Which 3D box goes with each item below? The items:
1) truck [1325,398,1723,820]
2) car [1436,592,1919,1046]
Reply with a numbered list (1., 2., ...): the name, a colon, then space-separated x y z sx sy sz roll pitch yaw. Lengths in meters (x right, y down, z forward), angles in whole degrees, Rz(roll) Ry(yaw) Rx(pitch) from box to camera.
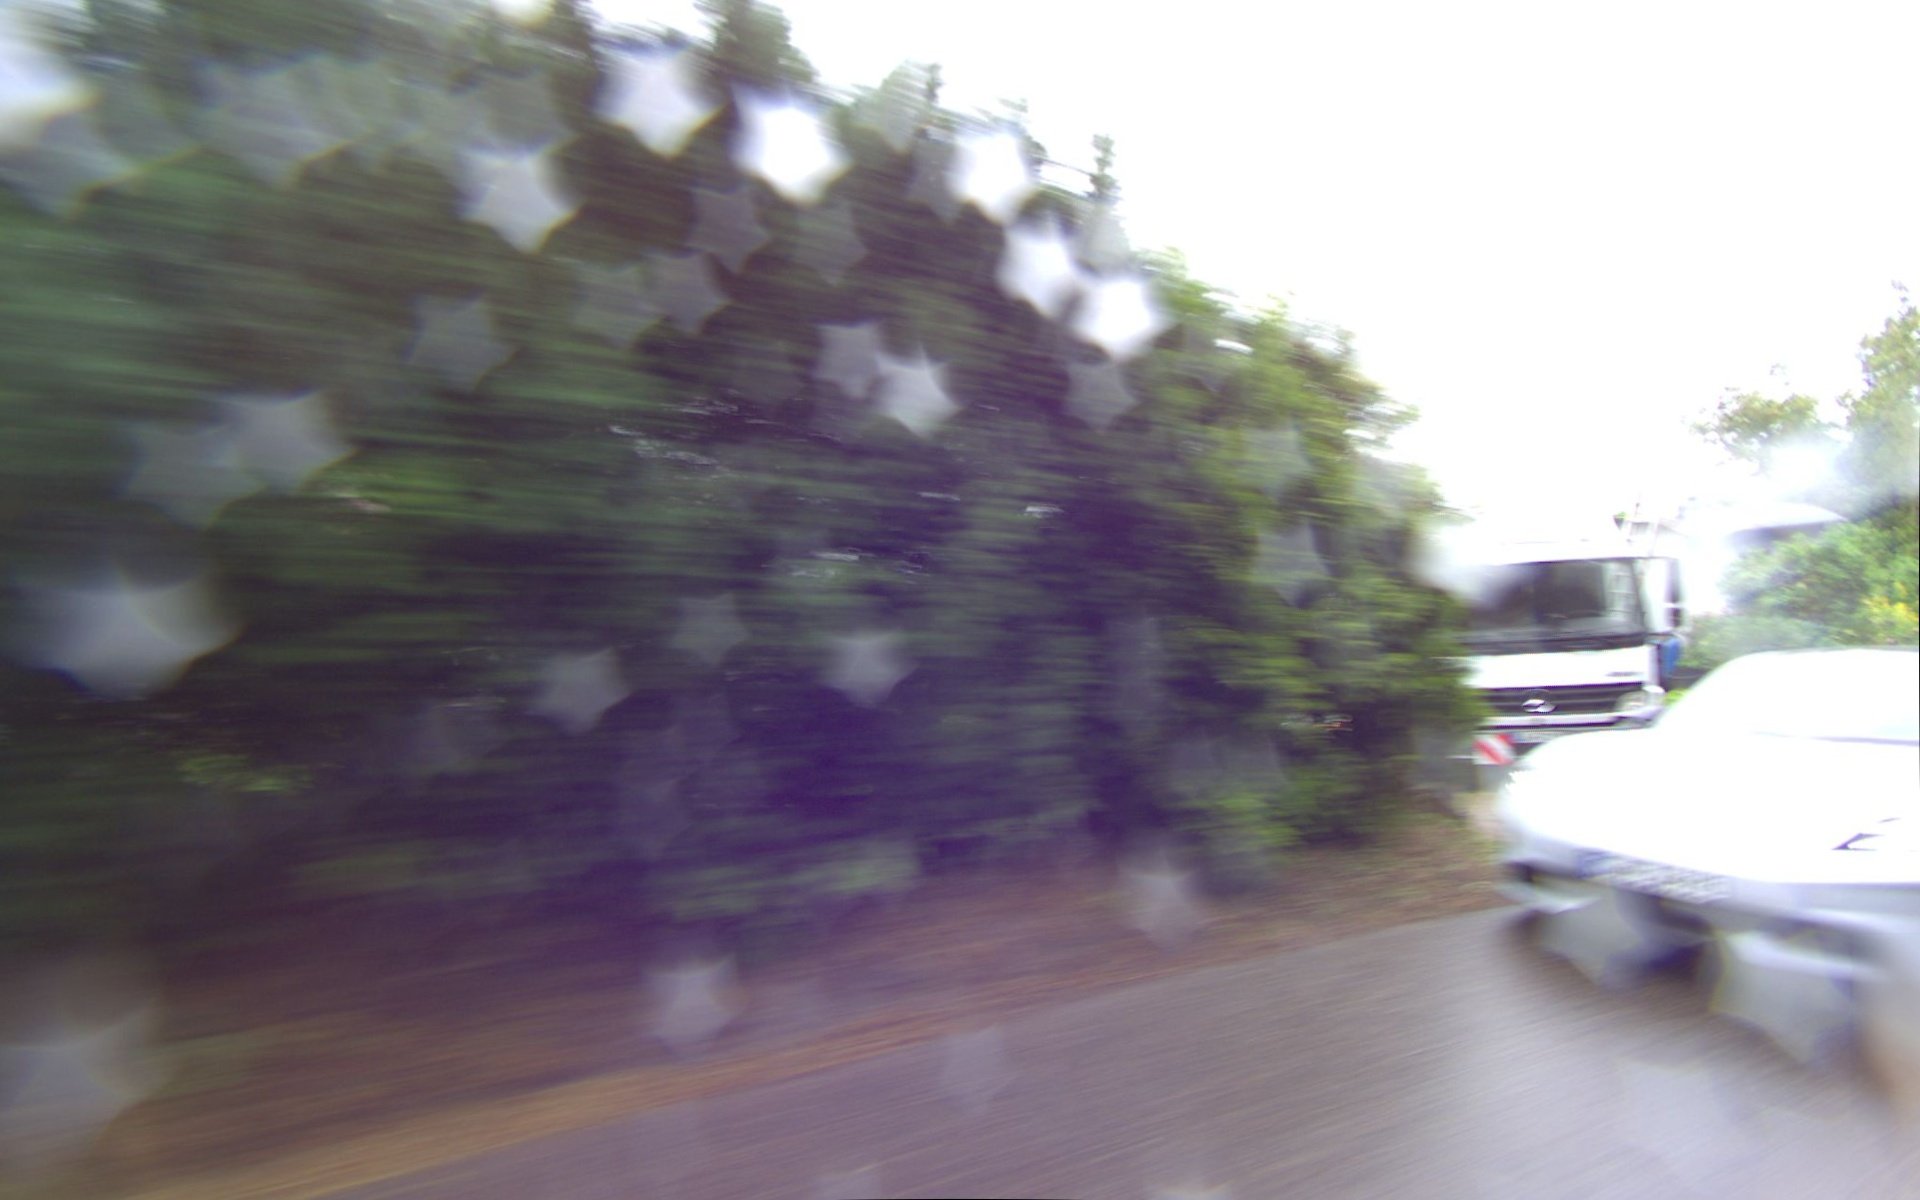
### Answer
1. truck: 6.672 -0.167 13.432 2.620 3.862 8.132 3 4 16
2. car: 4.838 0.931 5.310 4.525 1.542 1.933 5 -4 -29
